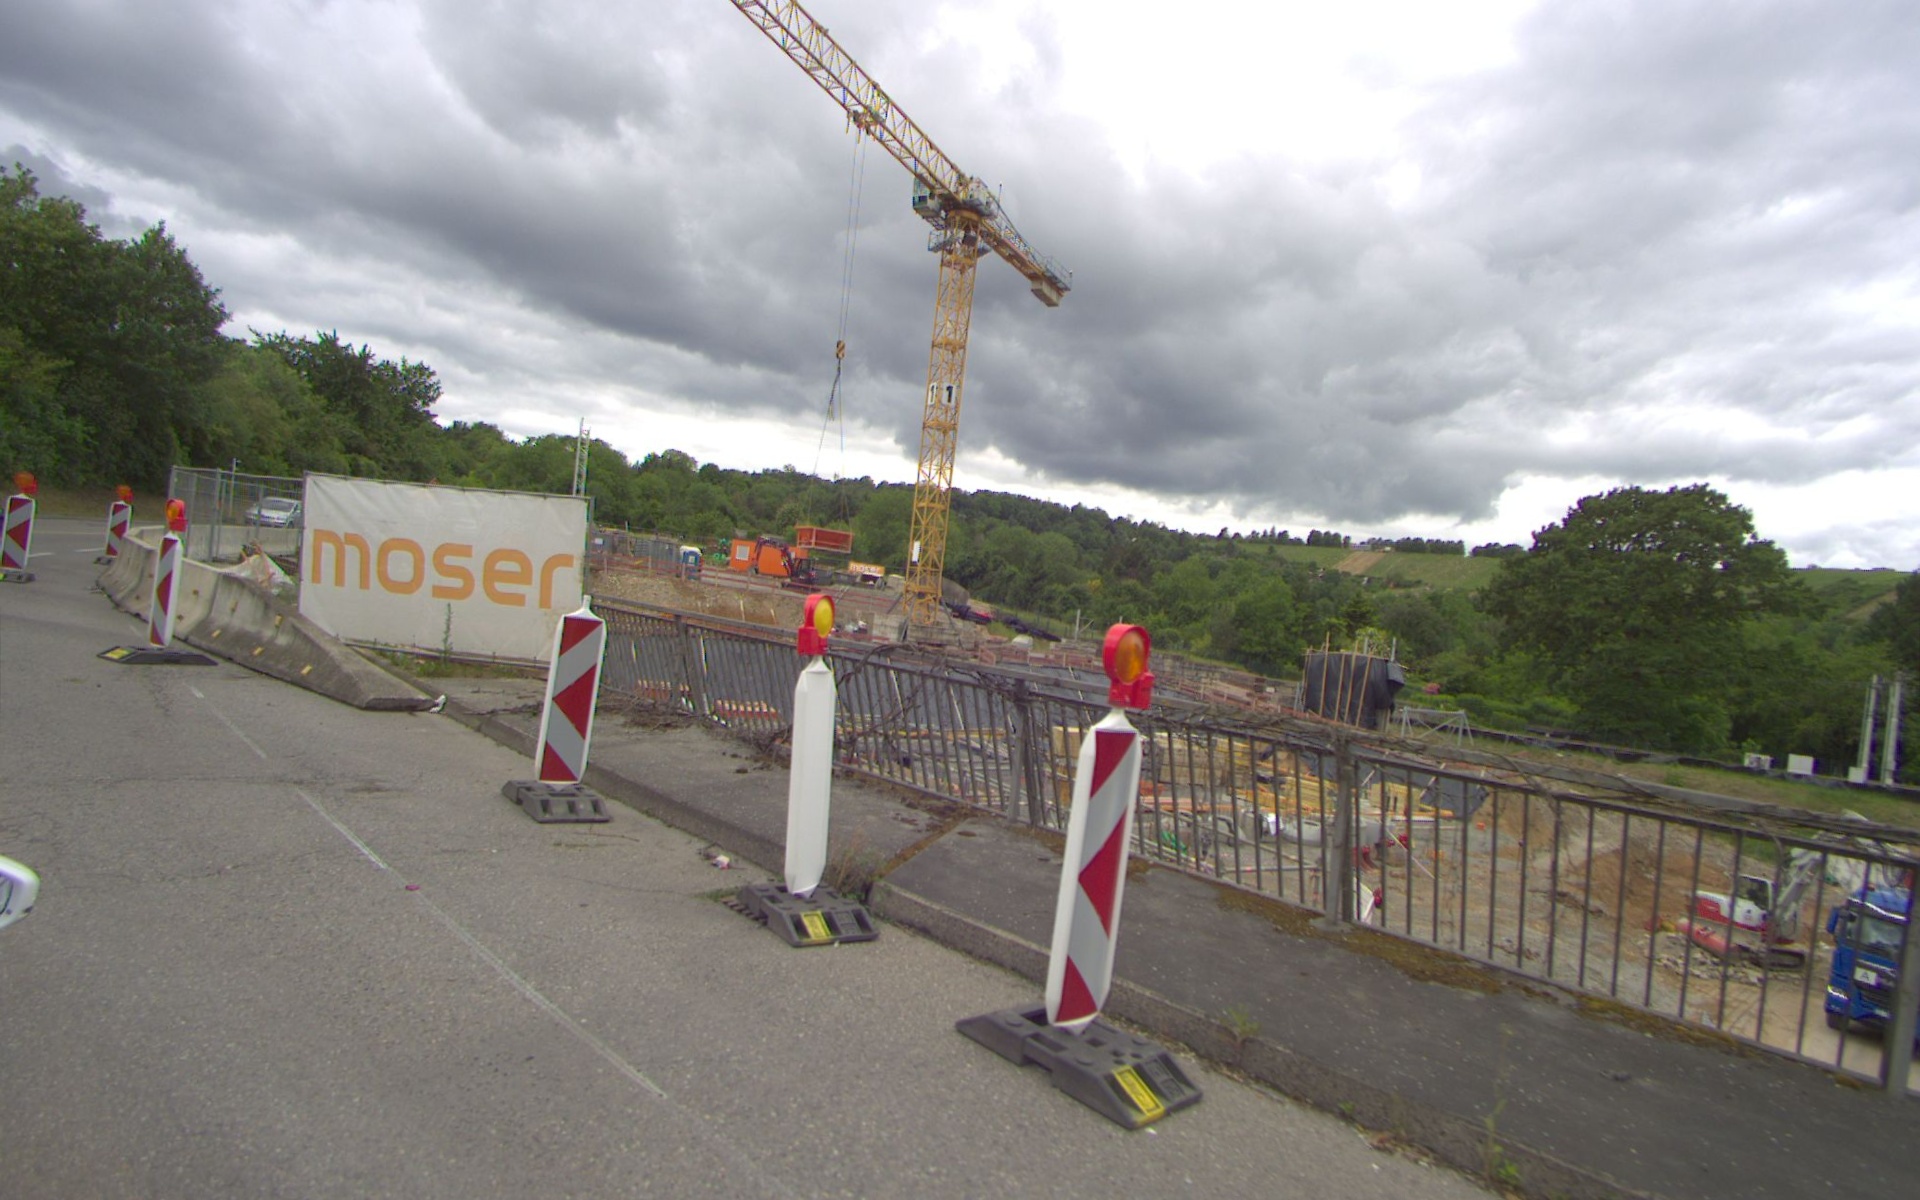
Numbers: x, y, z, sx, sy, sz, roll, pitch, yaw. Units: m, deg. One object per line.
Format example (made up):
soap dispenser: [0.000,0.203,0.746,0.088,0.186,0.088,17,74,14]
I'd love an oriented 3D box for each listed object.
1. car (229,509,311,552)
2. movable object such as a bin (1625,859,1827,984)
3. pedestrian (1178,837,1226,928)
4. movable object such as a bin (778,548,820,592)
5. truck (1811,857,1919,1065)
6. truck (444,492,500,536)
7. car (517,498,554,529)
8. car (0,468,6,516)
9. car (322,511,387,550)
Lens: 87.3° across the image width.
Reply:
car: [-31.642,-3.149,46.267,1.636,1.570,4.174,8,-1,-14]
movable object such as a bin: [23.943,10.042,31.519,4.232,2.781,3.032,9,-1,-21]
pedestrian: [6.072,7.066,25.221,0.697,2.037,0.796,5,-2,-37]
movable object such as a bin: [-12.650,-2.353,78.876,2.758,3.116,1.833,6,1,-18]
truck: [26.460,9.453,27.214,11.534,3.938,2.816,9,-1,-39]
truck: [-43.539,-7.596,89.934,2.785,3.380,8.346,6,2,-16]
car: [-34.186,-6.899,81.063,1.968,2.039,3.988,6,0,-14]
car: [-17.080,-1.576,16.216,1.788,1.570,3.960,9,-1,-36]
car: [-29.778,-3.394,49.571,1.799,1.571,3.772,8,0,-19]
